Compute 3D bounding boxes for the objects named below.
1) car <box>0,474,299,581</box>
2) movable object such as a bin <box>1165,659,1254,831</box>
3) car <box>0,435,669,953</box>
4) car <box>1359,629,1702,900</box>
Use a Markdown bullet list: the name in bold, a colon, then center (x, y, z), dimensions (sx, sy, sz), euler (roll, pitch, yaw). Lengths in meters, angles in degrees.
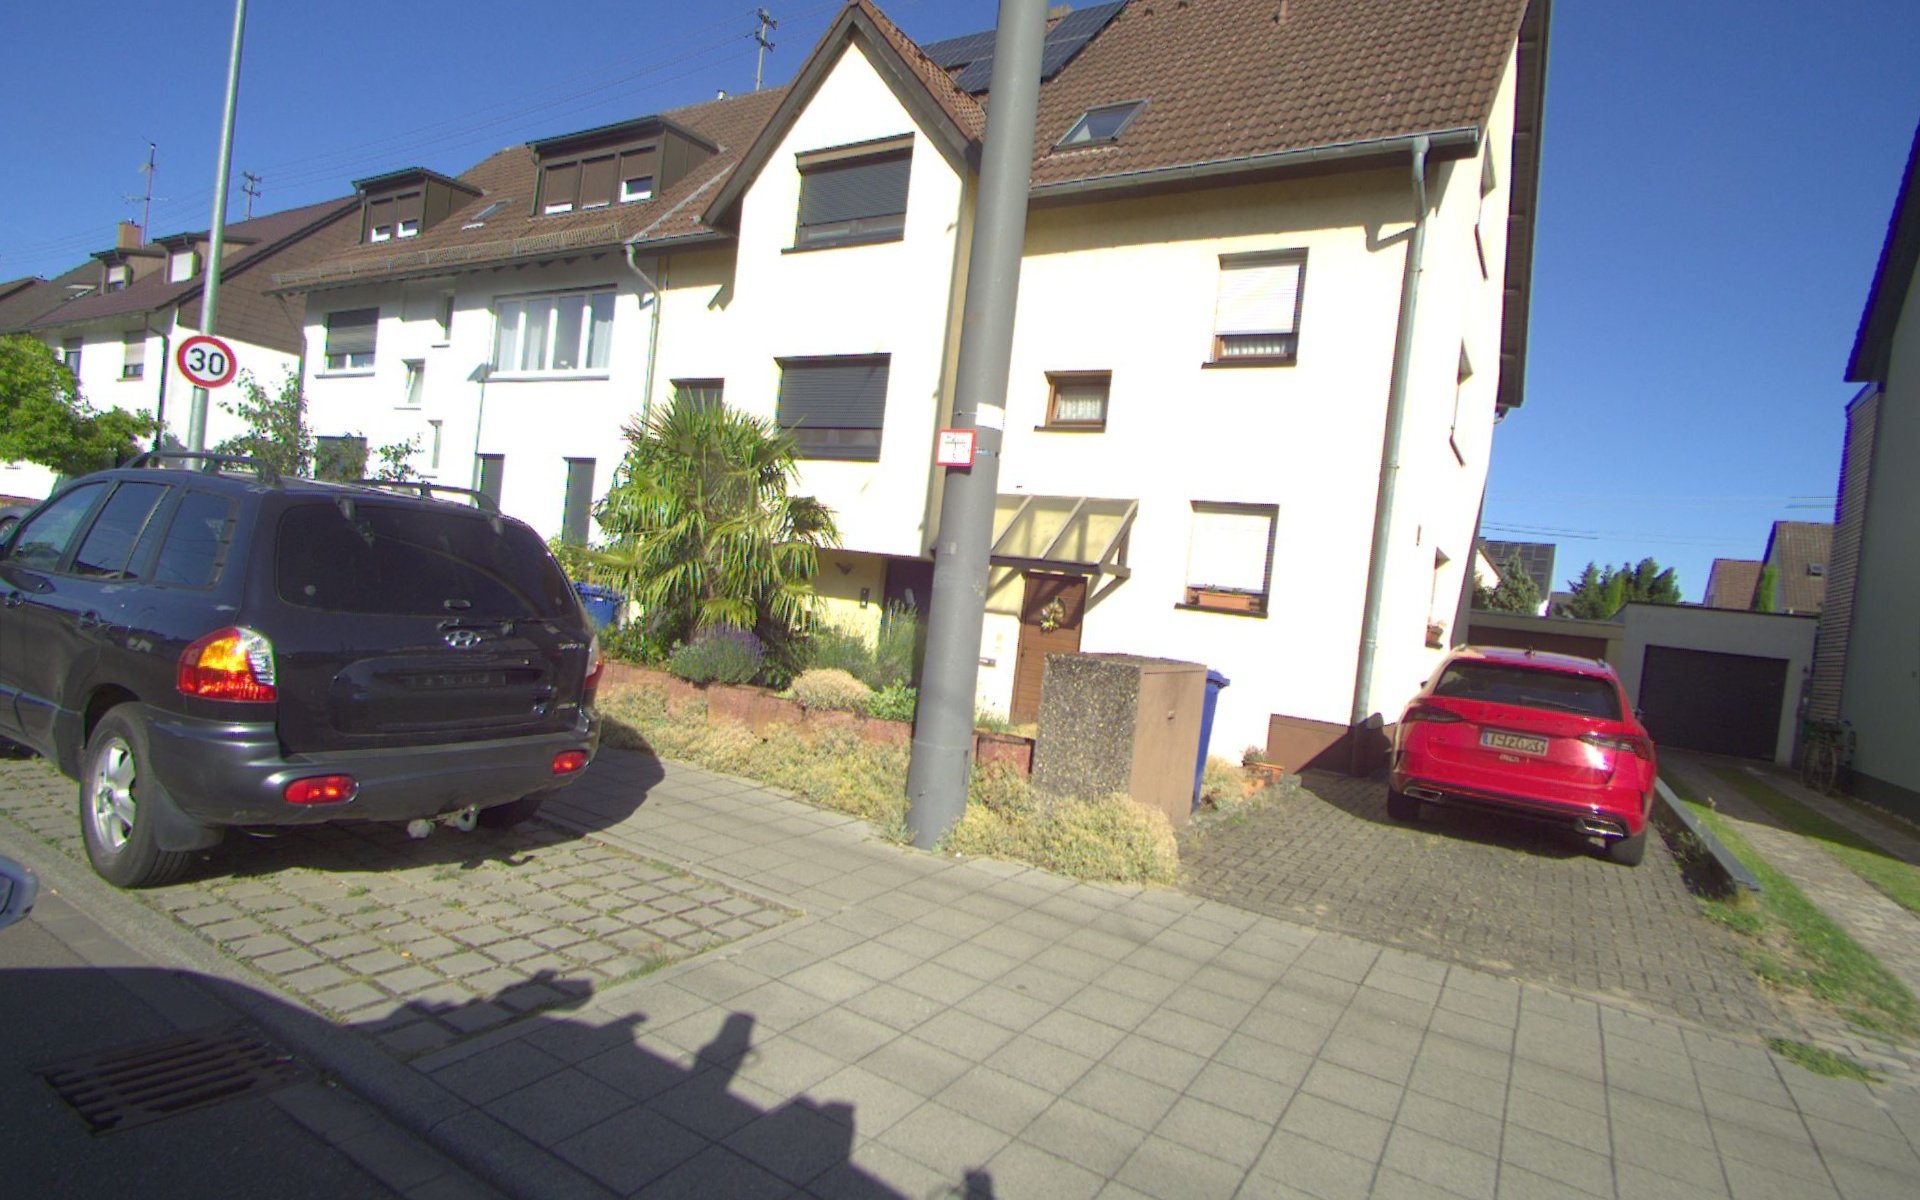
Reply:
- **car**: center (-15.786, -1.385, 19.451), dimensions (4.789, 1.464, 2.000), euler (6, 1, 7)
- **movable object such as a bin**: center (1.792, 1.008, 7.192), dimensions (0.312, 1.129, 0.668), euler (7, 3, 32)
- **car**: center (-3.830, 0.163, 5.254), dimensions (4.399, 1.680, 1.856), euler (7, 1, 32)
- **car**: center (4.850, 1.169, 8.648), dimensions (1.868, 1.486, 4.169), euler (8, 1, 31)
